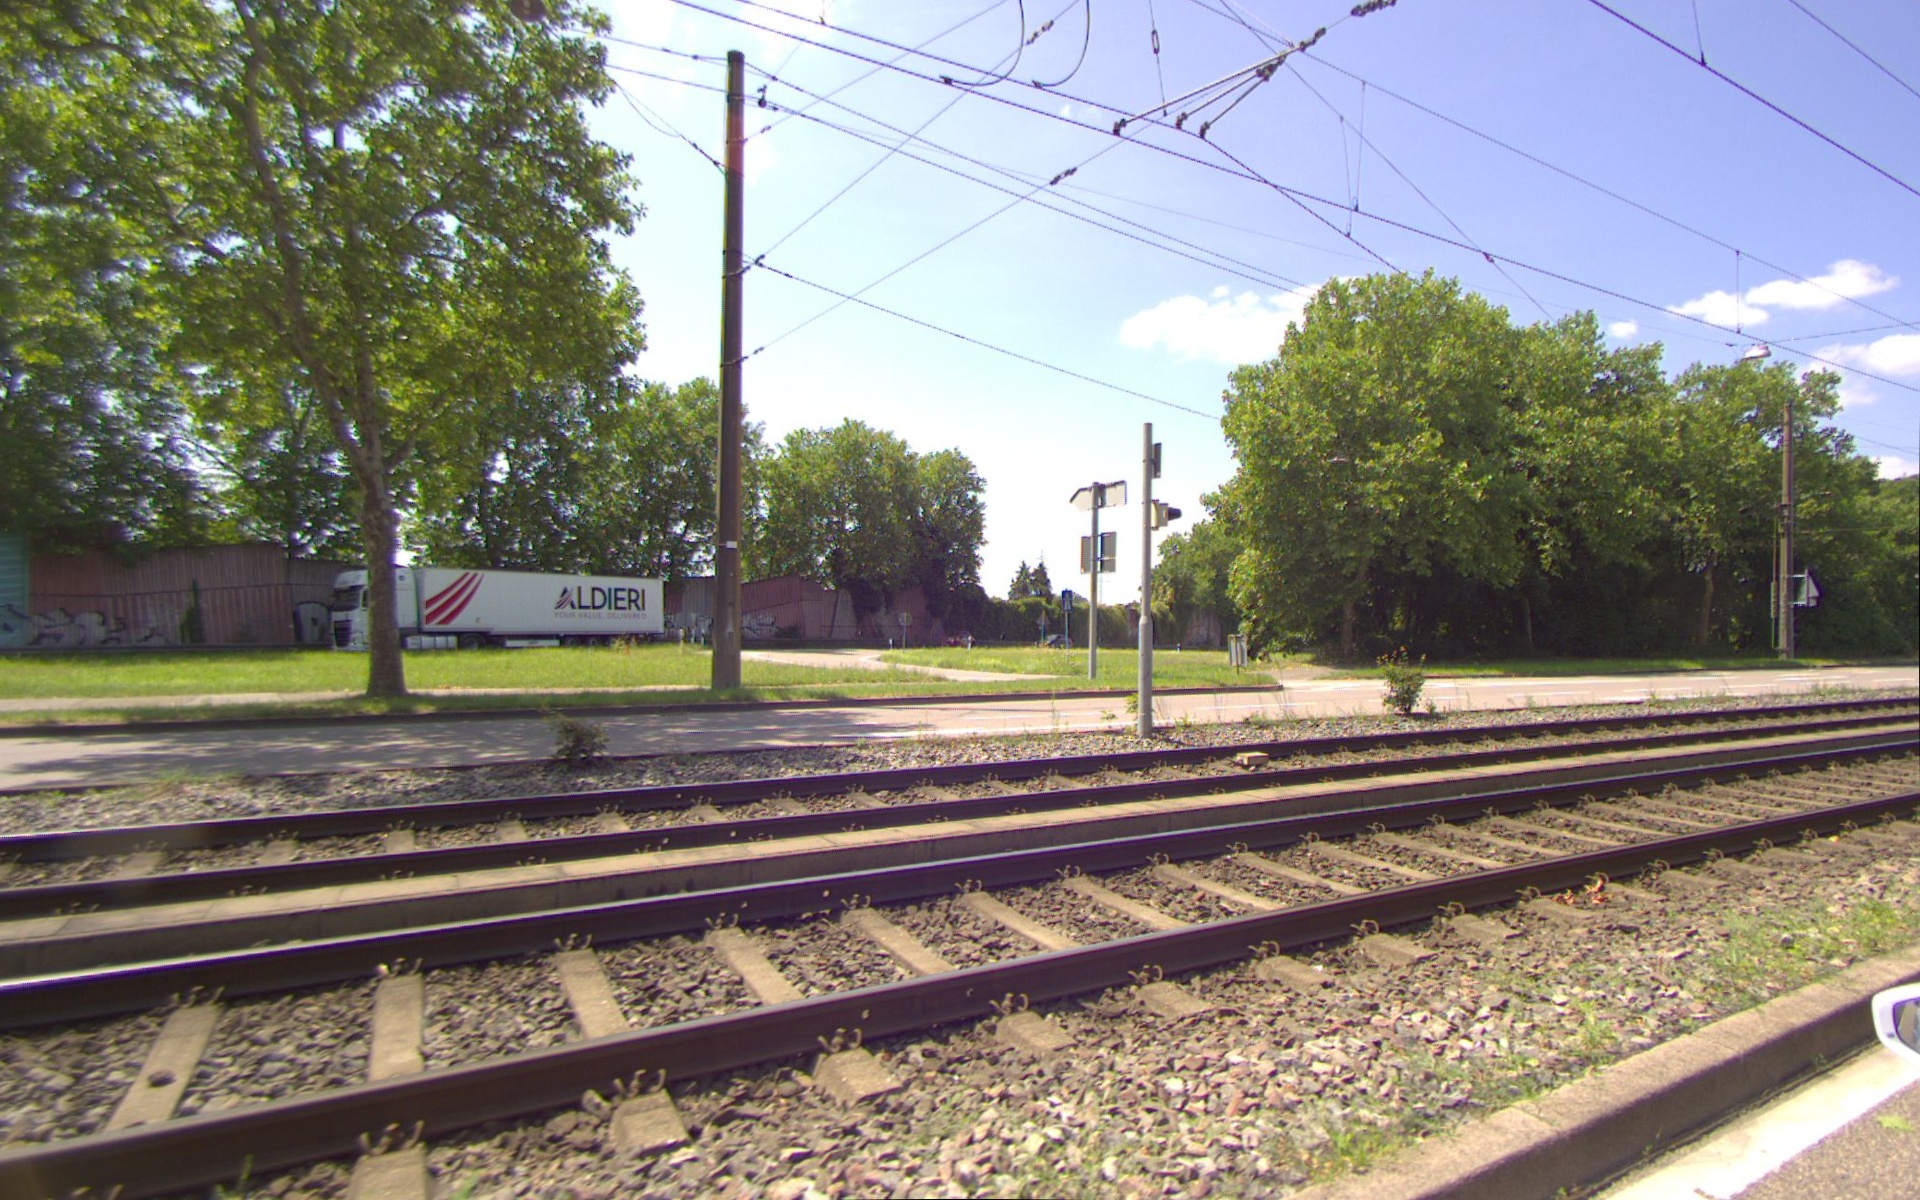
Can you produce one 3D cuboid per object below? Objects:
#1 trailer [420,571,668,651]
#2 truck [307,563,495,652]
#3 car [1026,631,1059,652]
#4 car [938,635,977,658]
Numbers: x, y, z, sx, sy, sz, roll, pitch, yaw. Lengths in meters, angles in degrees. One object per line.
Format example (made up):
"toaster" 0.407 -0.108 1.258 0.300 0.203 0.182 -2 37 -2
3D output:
"trailer" -21.158 0.646 52.260 3.332 3.703 12.072 0 -1 34
"truck" -25.411 0.406 45.986 3.361 3.751 6.740 0 -1 34
"car" 7.677 3.849 93.550 1.539 1.816 3.389 0 -1 35
"car" -0.175 3.738 81.605 1.539 1.816 3.389 0 -1 35
